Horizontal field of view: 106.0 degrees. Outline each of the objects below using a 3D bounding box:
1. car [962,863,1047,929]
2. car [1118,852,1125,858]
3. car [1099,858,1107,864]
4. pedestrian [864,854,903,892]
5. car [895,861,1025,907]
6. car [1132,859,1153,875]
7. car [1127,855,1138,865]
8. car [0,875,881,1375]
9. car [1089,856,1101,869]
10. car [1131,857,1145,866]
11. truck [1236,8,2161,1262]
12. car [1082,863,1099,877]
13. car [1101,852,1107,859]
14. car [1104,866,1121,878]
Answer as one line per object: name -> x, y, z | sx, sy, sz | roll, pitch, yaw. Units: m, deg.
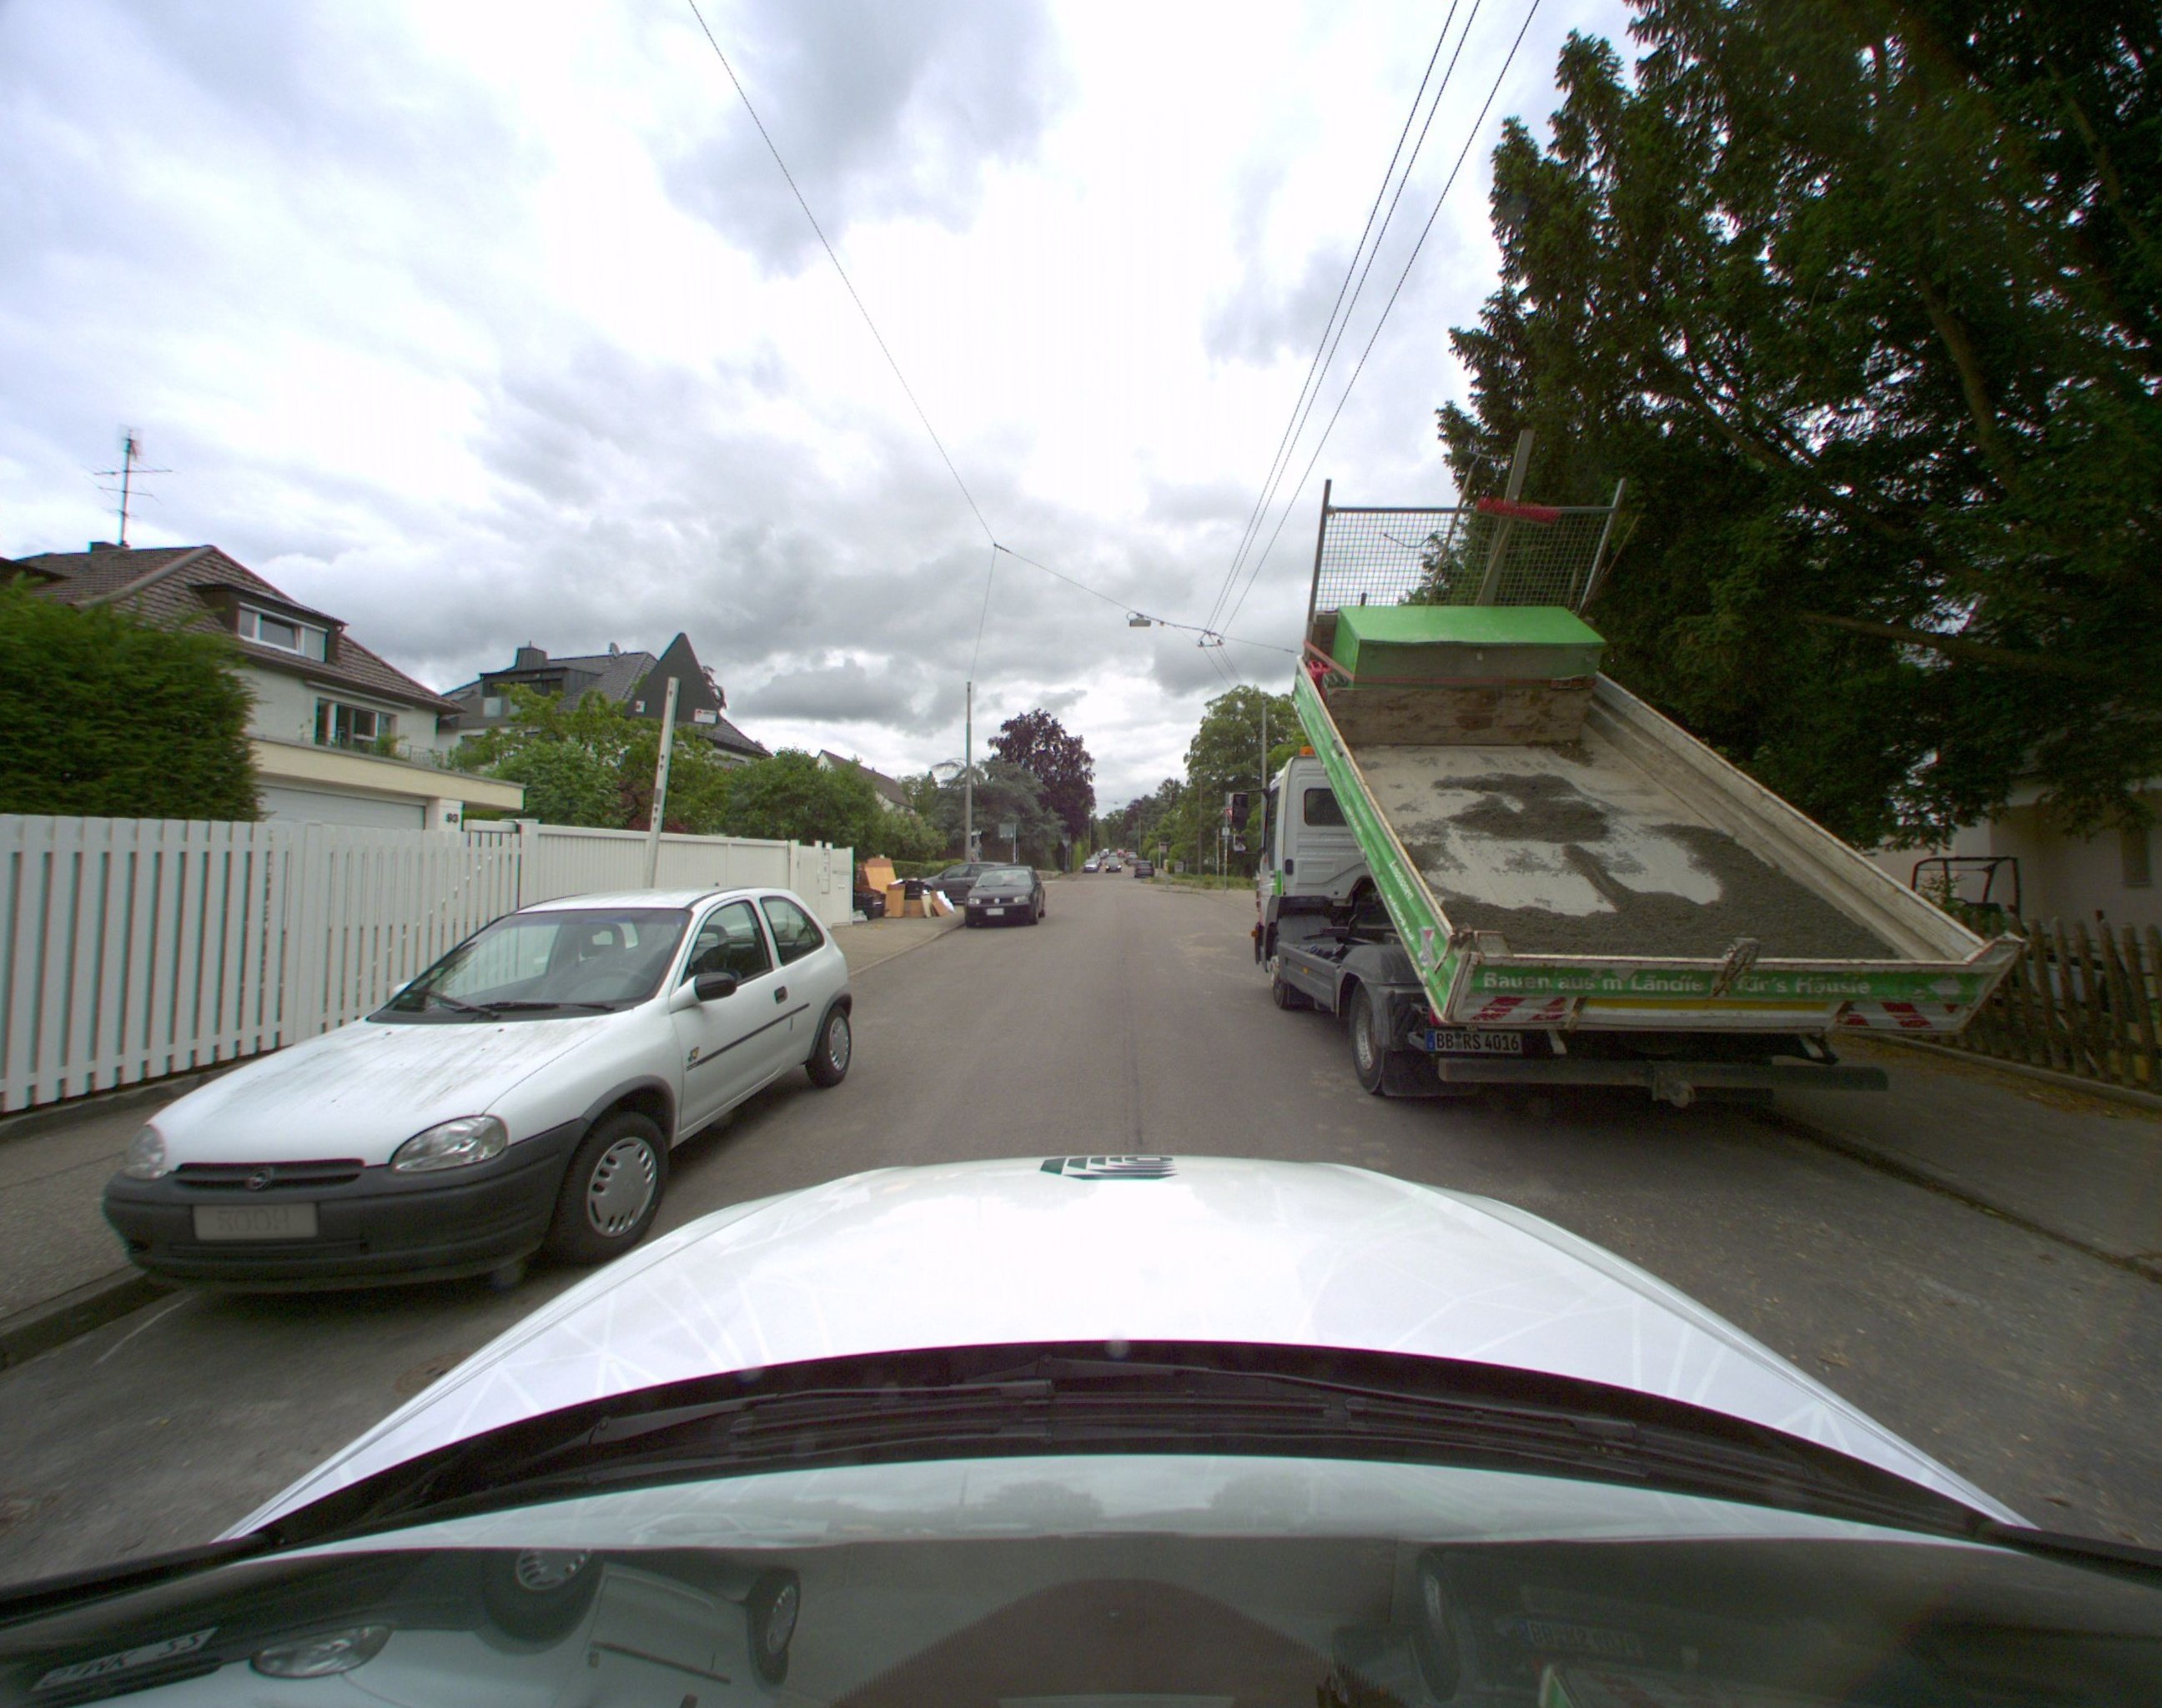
car -> -1.816, 0.980, 20.495 | 1.631, 1.395, 3.989 | -3, 0, 1
car -> 10.237, 0.223, 207.456 | 1.628, 1.701, 3.495 | 0, 0, 2
car -> 4.979, 1.553, 185.344 | 1.620, 1.386, 3.599 | 1, 0, 2
pedestrian -> -6.451, 0.624, 26.580 | 0.954, 1.225, 0.827 | 1, -2, -40
car -> -4.114, 0.983, 27.853 | 3.955, 1.444, 1.835 | 0, 0, 18
car -> 5.775, 1.196, 76.816 | 1.772, 1.489, 4.001 | 0, -1, 1
car -> 8.210, 0.939, 129.241 | 1.782, 1.529, 3.738 | 0, 0, 4
car -> -2.534, 0.909, 4.554 | 1.589, 1.433, 4.003 | -2, 0, 3
car -> 1.869, 1.094, 107.488 | 1.628, 1.701, 3.764 | 0, 0, 2
car -> 8.399, 1.094, 120.343 | 1.803, 1.335, 3.633 | 1, 1, 1
truck -> 3.045, -0.834, 6.706 | 2.514, 4.748, 7.192 | 1, -1, 3
car -> 1.195, 1.845, 96.933 | 1.703, 1.586, 4.005 | 0, 0, 5
car -> 6.563, 0.427, 232.413 | 1.810, 1.882, 4.001 | 1, 0, 2
car -> 3.697, 2.059, 94.422 | 1.719, 1.407, 3.810 | -1, -1, 6
